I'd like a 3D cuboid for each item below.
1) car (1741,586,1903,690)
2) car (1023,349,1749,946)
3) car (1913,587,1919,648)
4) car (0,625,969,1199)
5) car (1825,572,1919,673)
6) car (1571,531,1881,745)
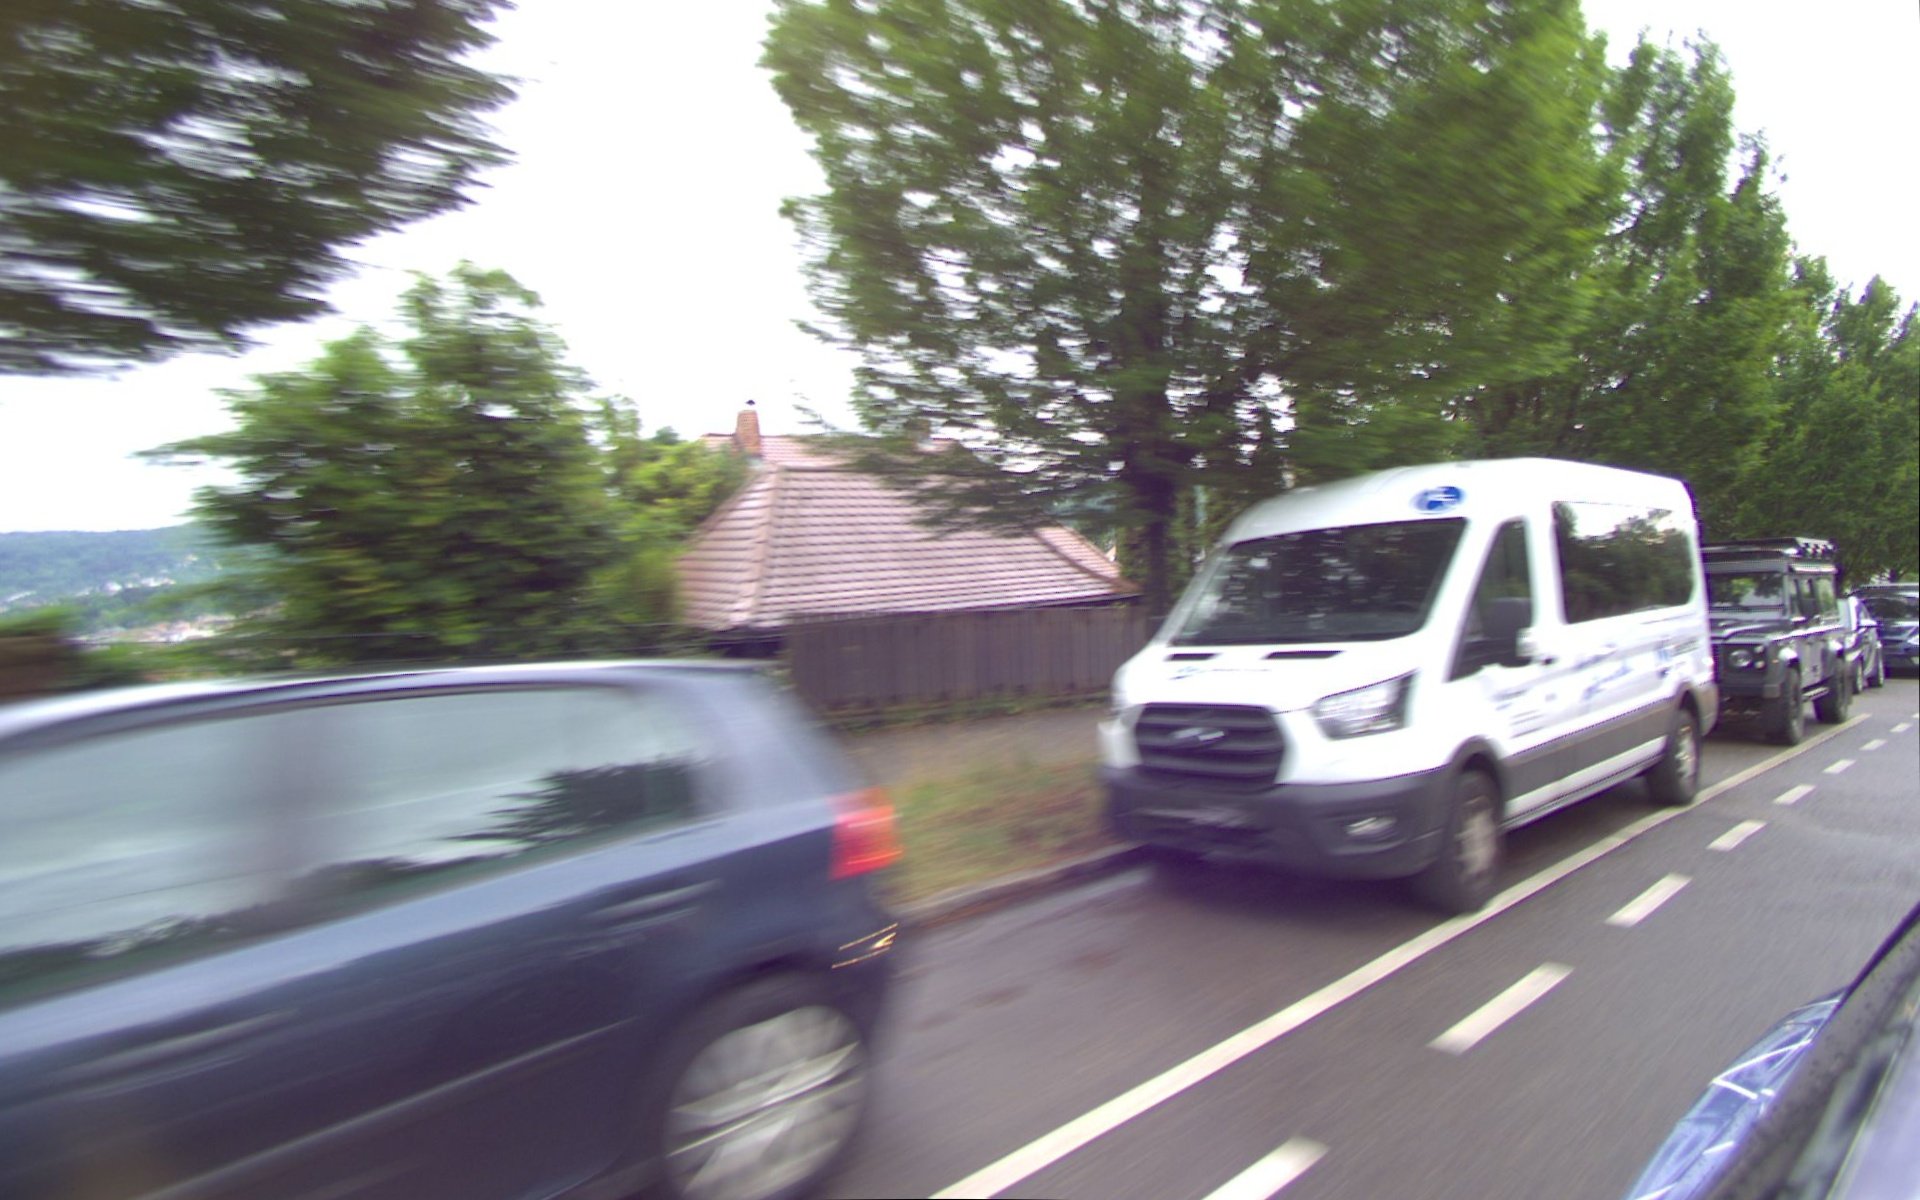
[{"bbox_3d":[14.486,0.575,16.979,2.903,1.578,1.599,-1,0,-40],"label":"car"},{"bbox_3d":[3.350,0.210,7.055,5.928,2.525,2.176,-1,-2,-41],"label":"car"},{"bbox_3d":[26.894,0.419,26.825,3.850,1.590,1.697,-1,-1,-37],"label":"car"},{"bbox_3d":[-2.098,0.882,2.173,4.151,1.477,1.673,-1,-3,-42],"label":"car"},{"bbox_3d":[18.758,0.396,20.087,4.598,1.806,1.783,0,-1,-41],"label":"car"},{"bbox_3d":[9.431,0.355,12.276,5.033,2.078,1.996,-1,-1,-41],"label":"car"}]
